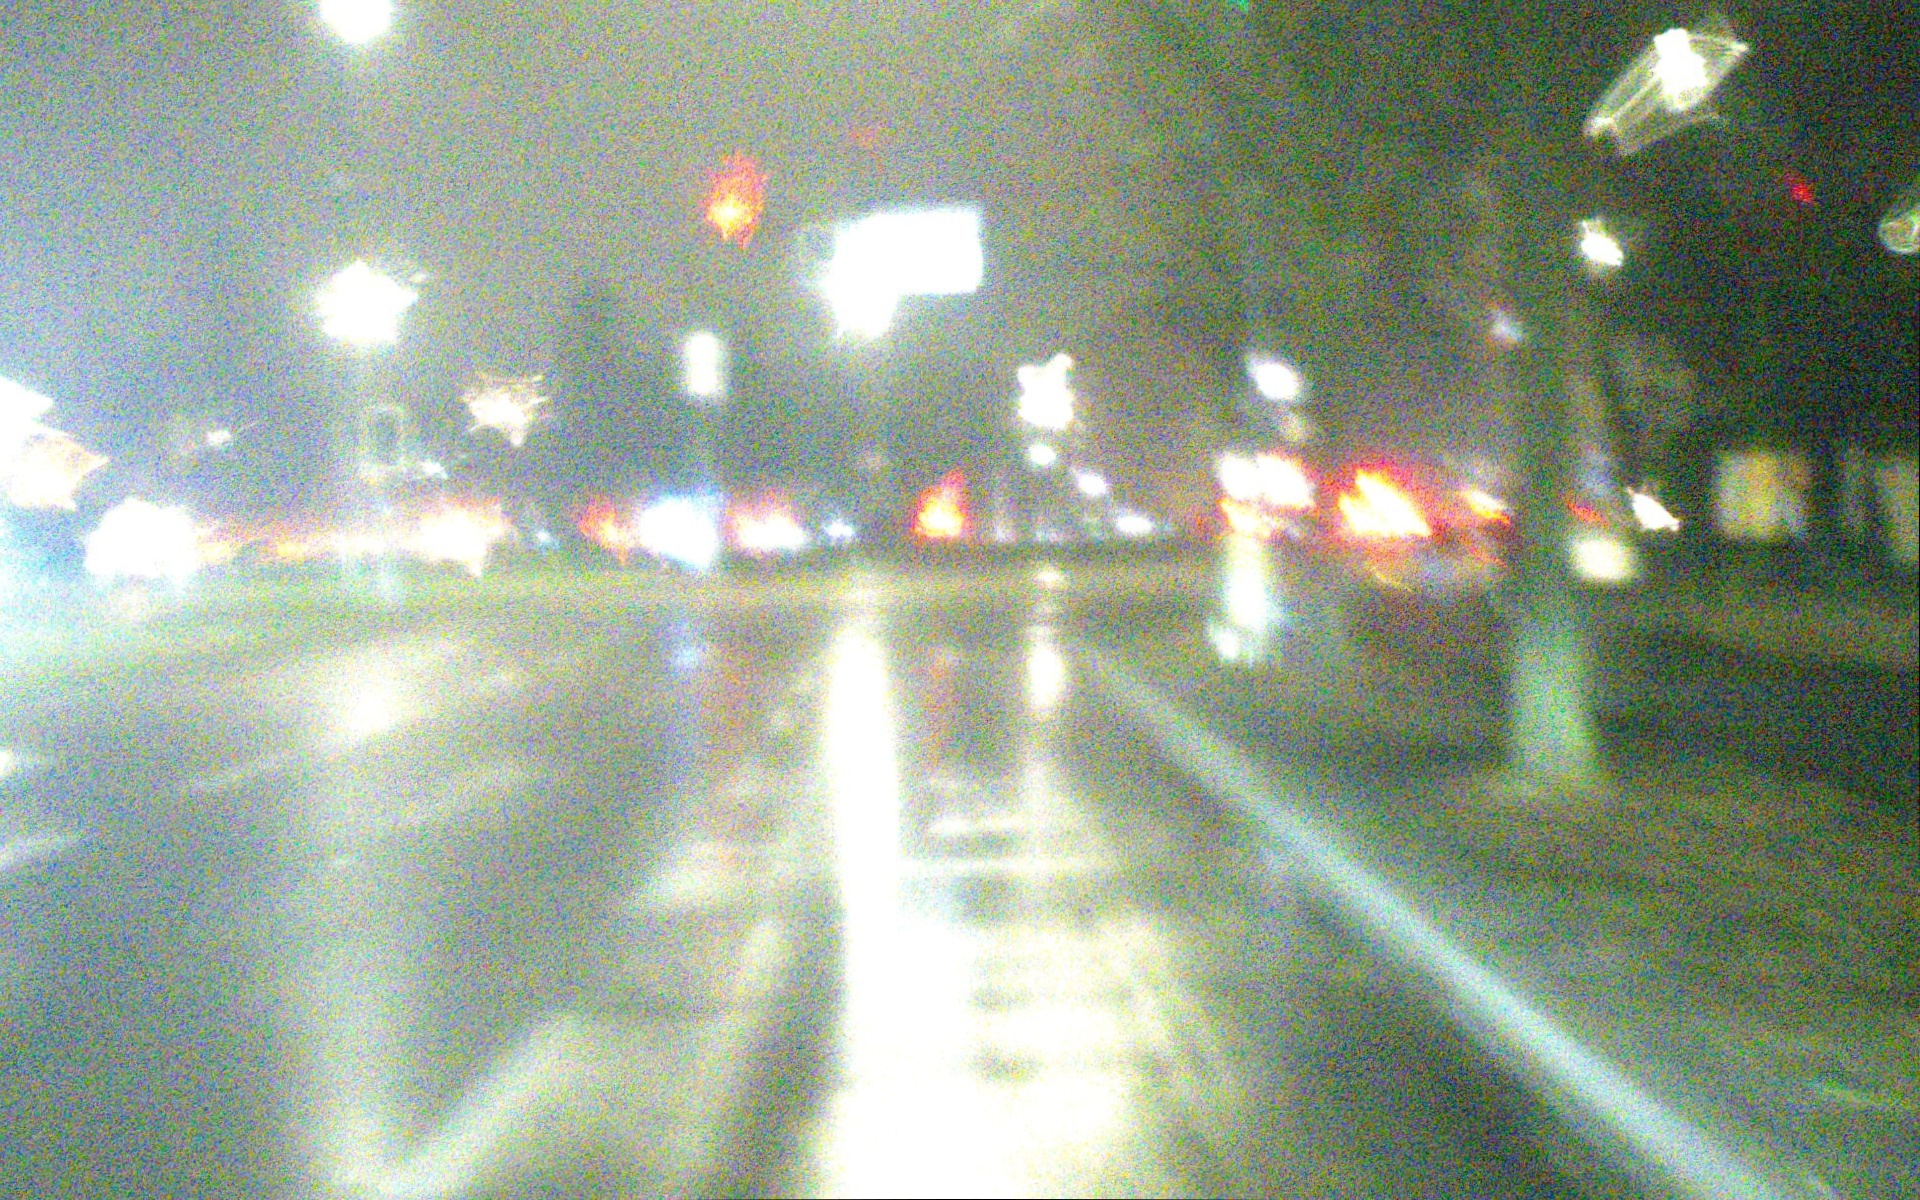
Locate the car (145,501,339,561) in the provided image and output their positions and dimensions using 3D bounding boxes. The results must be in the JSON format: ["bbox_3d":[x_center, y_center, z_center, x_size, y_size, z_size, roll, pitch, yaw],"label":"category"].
[{"bbox_3d":[-25.289,-2.422,121.072,6.292,2.082,2.516,0,2,-25],"label":"car"}]

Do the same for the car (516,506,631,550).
[{"bbox_3d":[-13.844,-2.590,123.275,3.951,1.573,1.737,0,1,-2],"label":"car"}]

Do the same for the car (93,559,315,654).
[{"bbox_3d":[-16.564,0.110,75.315,4.541,2.007,2.001,0,1,-19],"label":"car"}]

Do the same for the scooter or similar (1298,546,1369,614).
[{"bbox_3d":[6.166,-0.325,56.762,1.102,1.094,0.317,-1,0,28],"label":"scooter or similar"}]

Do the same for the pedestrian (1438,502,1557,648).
[{"bbox_3d":[6.701,-0.329,42.935,1.227,1.787,1.490,0,1,-1],"label":"pedestrian"}]

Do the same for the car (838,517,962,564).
[{"bbox_3d":[-2.120,-2.123,121.663,3.992,1.610,1.834,1,2,26],"label":"car"}]

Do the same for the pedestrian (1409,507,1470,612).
[{"bbox_3d":[6.798,-0.578,48.788,0.726,1.480,0.836,0,1,-1],"label":"pedestrian"}]
